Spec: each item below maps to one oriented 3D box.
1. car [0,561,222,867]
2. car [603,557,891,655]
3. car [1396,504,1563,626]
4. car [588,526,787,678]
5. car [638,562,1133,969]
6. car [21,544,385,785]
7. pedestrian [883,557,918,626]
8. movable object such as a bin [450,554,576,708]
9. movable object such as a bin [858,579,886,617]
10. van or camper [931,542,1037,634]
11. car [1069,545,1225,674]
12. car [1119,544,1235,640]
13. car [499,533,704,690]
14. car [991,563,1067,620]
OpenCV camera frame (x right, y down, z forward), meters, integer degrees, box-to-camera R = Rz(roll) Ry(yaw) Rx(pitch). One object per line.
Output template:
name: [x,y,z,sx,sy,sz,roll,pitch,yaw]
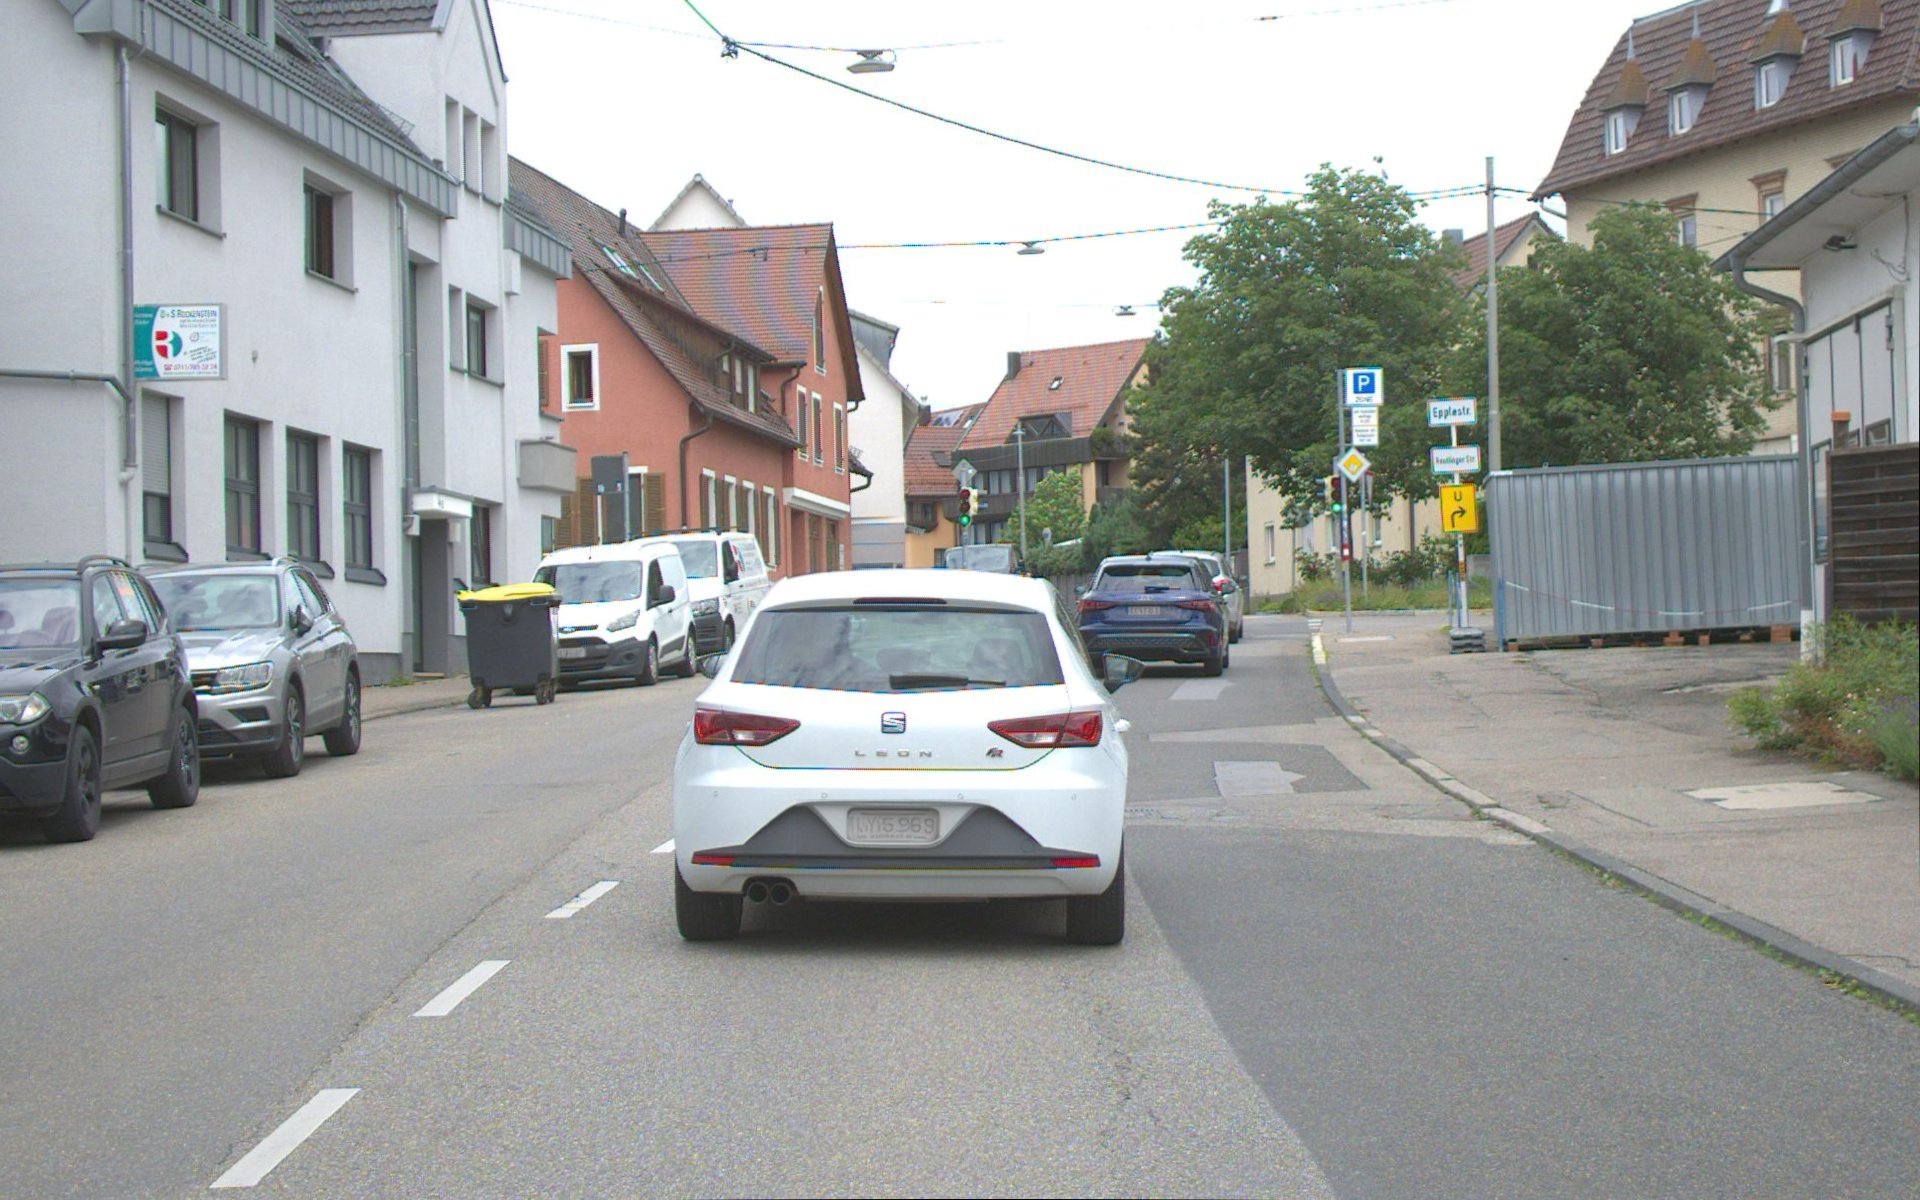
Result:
car: [-5.856,0.628,20.746,1.837,1.627,4.408,-3,1,-1]
car: [-3.647,0.095,59.310,4.555,1.440,1.999,-3,0,9]
car: [8.052,-0.557,53.693,1.746,1.733,4.572,-3,1,-1]
car: [-3.869,-0.019,49.641,1.812,1.999,4.762,-3,1,8]
car: [-0.171,0.594,14.454,1.758,1.447,4.000,-1,0,3]
car: [-5.750,0.429,26.646,1.837,1.627,4.408,-3,1,-1]
pedestrian: [-1.535,-0.217,88.865,0.800,1.778,0.892,-1,0,5]
movable object such as a bin: [-4.956,0.328,38.220,1.140,1.627,1.563,-3,1,-1]
movable object such as a bin: [-2.372,-0.057,92.711,0.665,1.015,0.795,-2,0,2]
van or camper: [0.615,-0.260,83.555,2.074,1.999,4.856,-3,-2,5]
car: [2.269,0.131,41.363,1.758,1.447,3.999,-1,-1,4]
car: [3.469,-0.094,54.799,1.758,1.447,3.999,-1,-1,4]
car: [-4.542,0.100,44.180,1.734,1.825,4.297,-3,1,5]
car: [2.050,-0.238,103.358,1.997,1.627,4.858,0,-1,-2]
